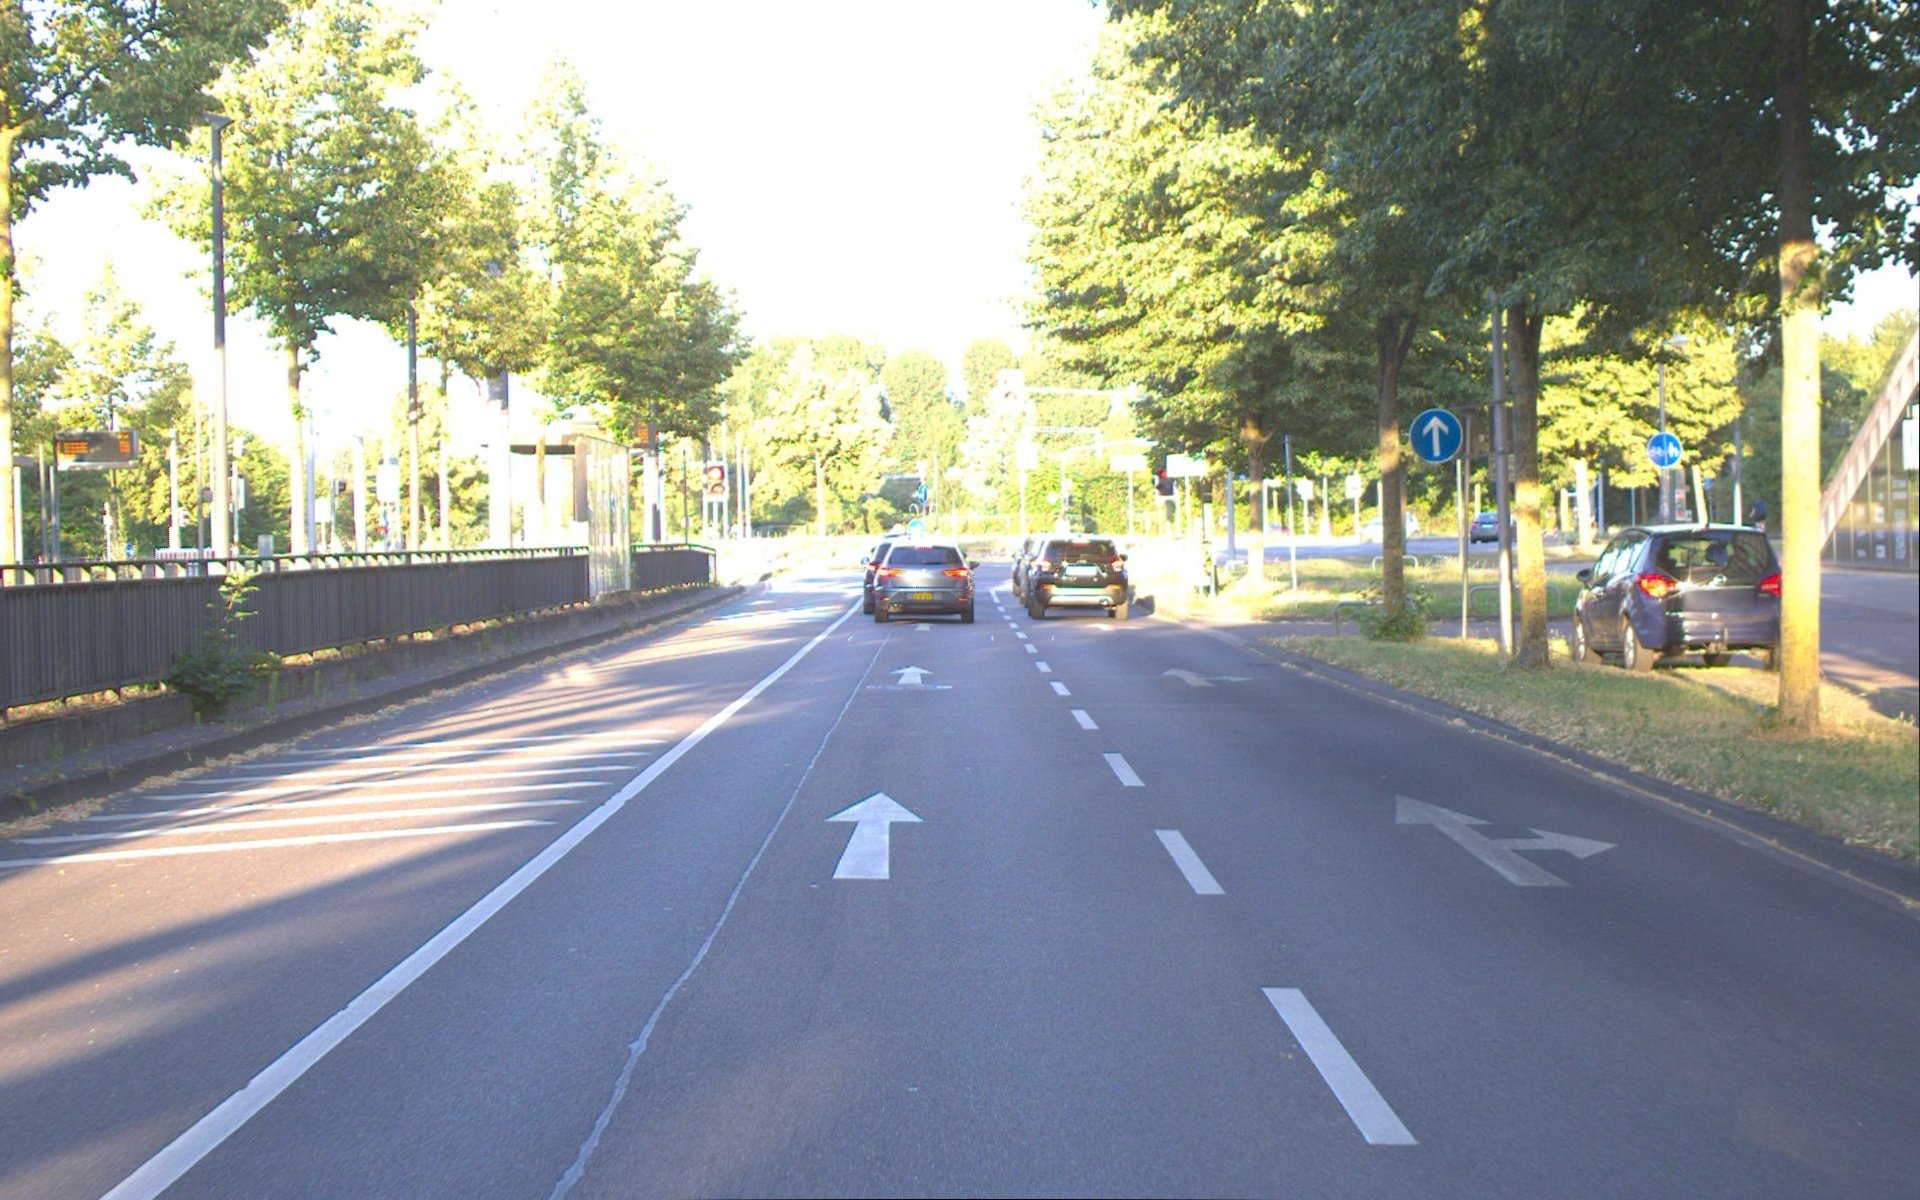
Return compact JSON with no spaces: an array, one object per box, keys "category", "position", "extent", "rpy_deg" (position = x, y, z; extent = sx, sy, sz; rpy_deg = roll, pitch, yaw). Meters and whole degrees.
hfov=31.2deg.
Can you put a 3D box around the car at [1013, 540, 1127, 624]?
[{"category":"car","position":[2.022,-0.360,64.020],"extent":[1.911,1.481,4.000],"rpy_deg":[-1,1,-1]}]

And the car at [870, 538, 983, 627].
[{"category":"car","position":[-0.604,-0.328,60.542],"extent":[1.911,1.481,4.000],"rpy_deg":[-1,1,-1]}]

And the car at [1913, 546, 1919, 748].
[{"category":"car","position":[7.921,0.362,22.935],"extent":[1.777,1.467,4.289],"rpy_deg":[-1,1,-2]}]

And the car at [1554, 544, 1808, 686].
[{"category":"car","position":[7.908,0.123,38.070],"extent":[1.756,1.461,4.159],"rpy_deg":[-1,1,-3]}]

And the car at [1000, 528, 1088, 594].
[{"category":"car","position":[1.975,-0.941,81.676],"extent":[1.911,1.481,4.000],"rpy_deg":[-1,1,-1]}]

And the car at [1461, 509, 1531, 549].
[{"category":"car","position":[24.140,-3.193,154.795],"extent":[1.996,1.722,3.995],"rpy_deg":[-1,1,26]}]

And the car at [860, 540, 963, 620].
[{"category":"car","position":[-0.946,-0.406,66.881],"extent":[1.911,1.481,4.000],"rpy_deg":[-1,1,-1]}]

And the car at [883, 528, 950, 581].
[{"category":"car","position":[-1.285,-1.353,101.701],"extent":[1.911,1.481,4.000],"rpy_deg":[-1,1,-1]}]

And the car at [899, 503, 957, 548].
[{"category":"car","position":[-1.114,-2.549,118.350],"extent":[1.911,1.481,4.000],"rpy_deg":[-1,1,-1]}]
